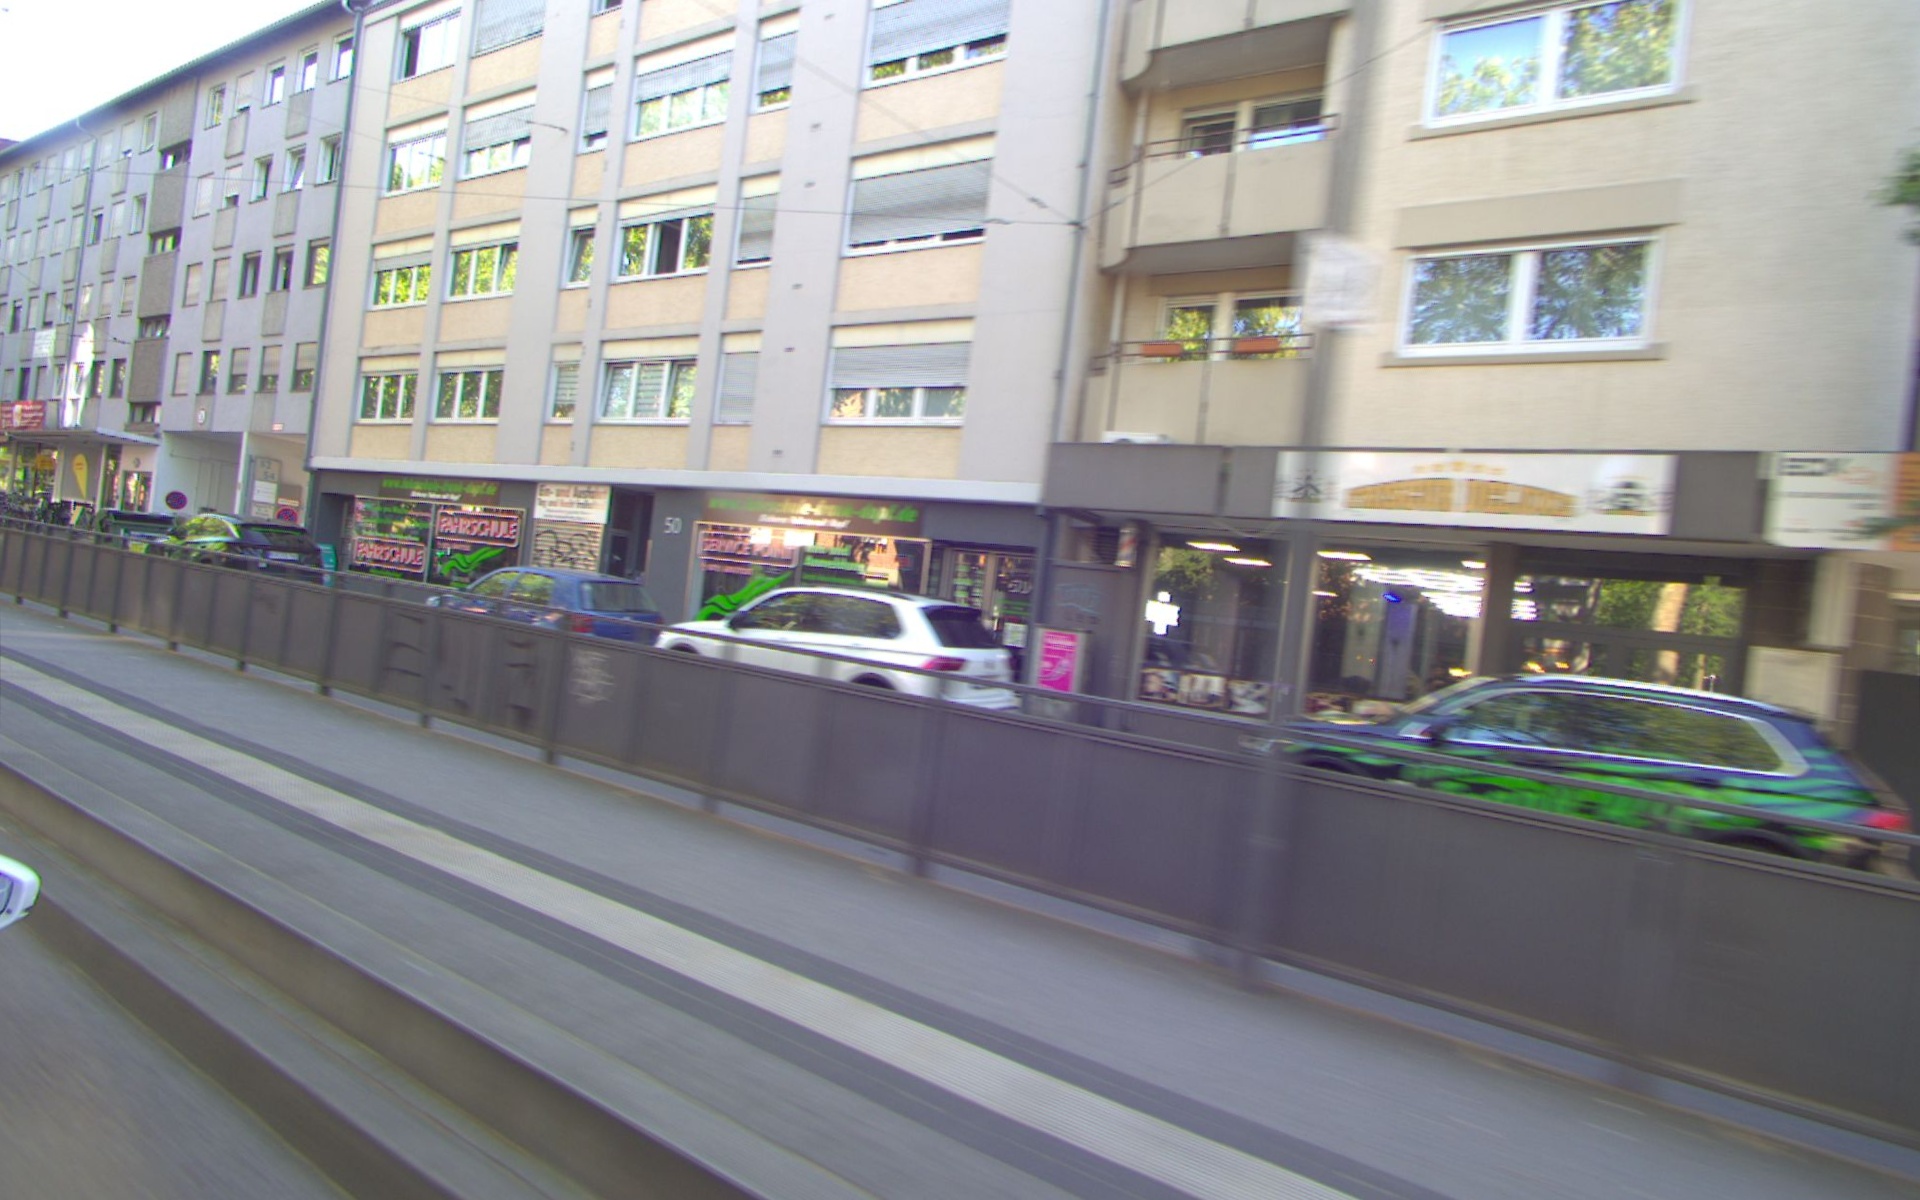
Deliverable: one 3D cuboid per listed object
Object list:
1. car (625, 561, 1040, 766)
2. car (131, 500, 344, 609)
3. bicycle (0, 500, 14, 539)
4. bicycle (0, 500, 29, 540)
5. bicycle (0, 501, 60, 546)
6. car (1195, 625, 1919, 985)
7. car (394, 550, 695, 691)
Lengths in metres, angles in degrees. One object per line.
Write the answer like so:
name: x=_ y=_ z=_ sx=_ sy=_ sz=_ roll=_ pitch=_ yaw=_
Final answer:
car: x=-1.514 y=0.639 z=11.310 sx=4.343 sy=1.624 sz=1.803 roll=6 pitch=-2 yaw=33
car: x=-14.432 y=-0.927 z=20.037 sx=4.326 sy=1.634 sz=1.860 roll=6 pitch=-2 yaw=33
bicycle: x=-30.615 y=-2.611 z=31.323 sx=2.390 sy=1.149 sz=0.604 roll=7 pitch=-1 yaw=21
bicycle: x=-31.193 y=-2.662 z=32.293 sx=2.867 sy=1.149 sz=0.613 roll=7 pitch=-1 yaw=21
bicycle: x=-28.385 y=-2.343 z=30.421 sx=2.394 sy=1.149 sz=0.623 roll=7 pitch=-1 yaw=21
car: x=4.339 y=1.310 z=7.778 sx=4.372 sy=1.634 sz=1.997 roll=6 pitch=-2 yaw=33
car: x=-5.948 y=0.264 z=14.273 sx=4.178 sy=1.457 sz=1.747 roll=6 pitch=-2 yaw=33
